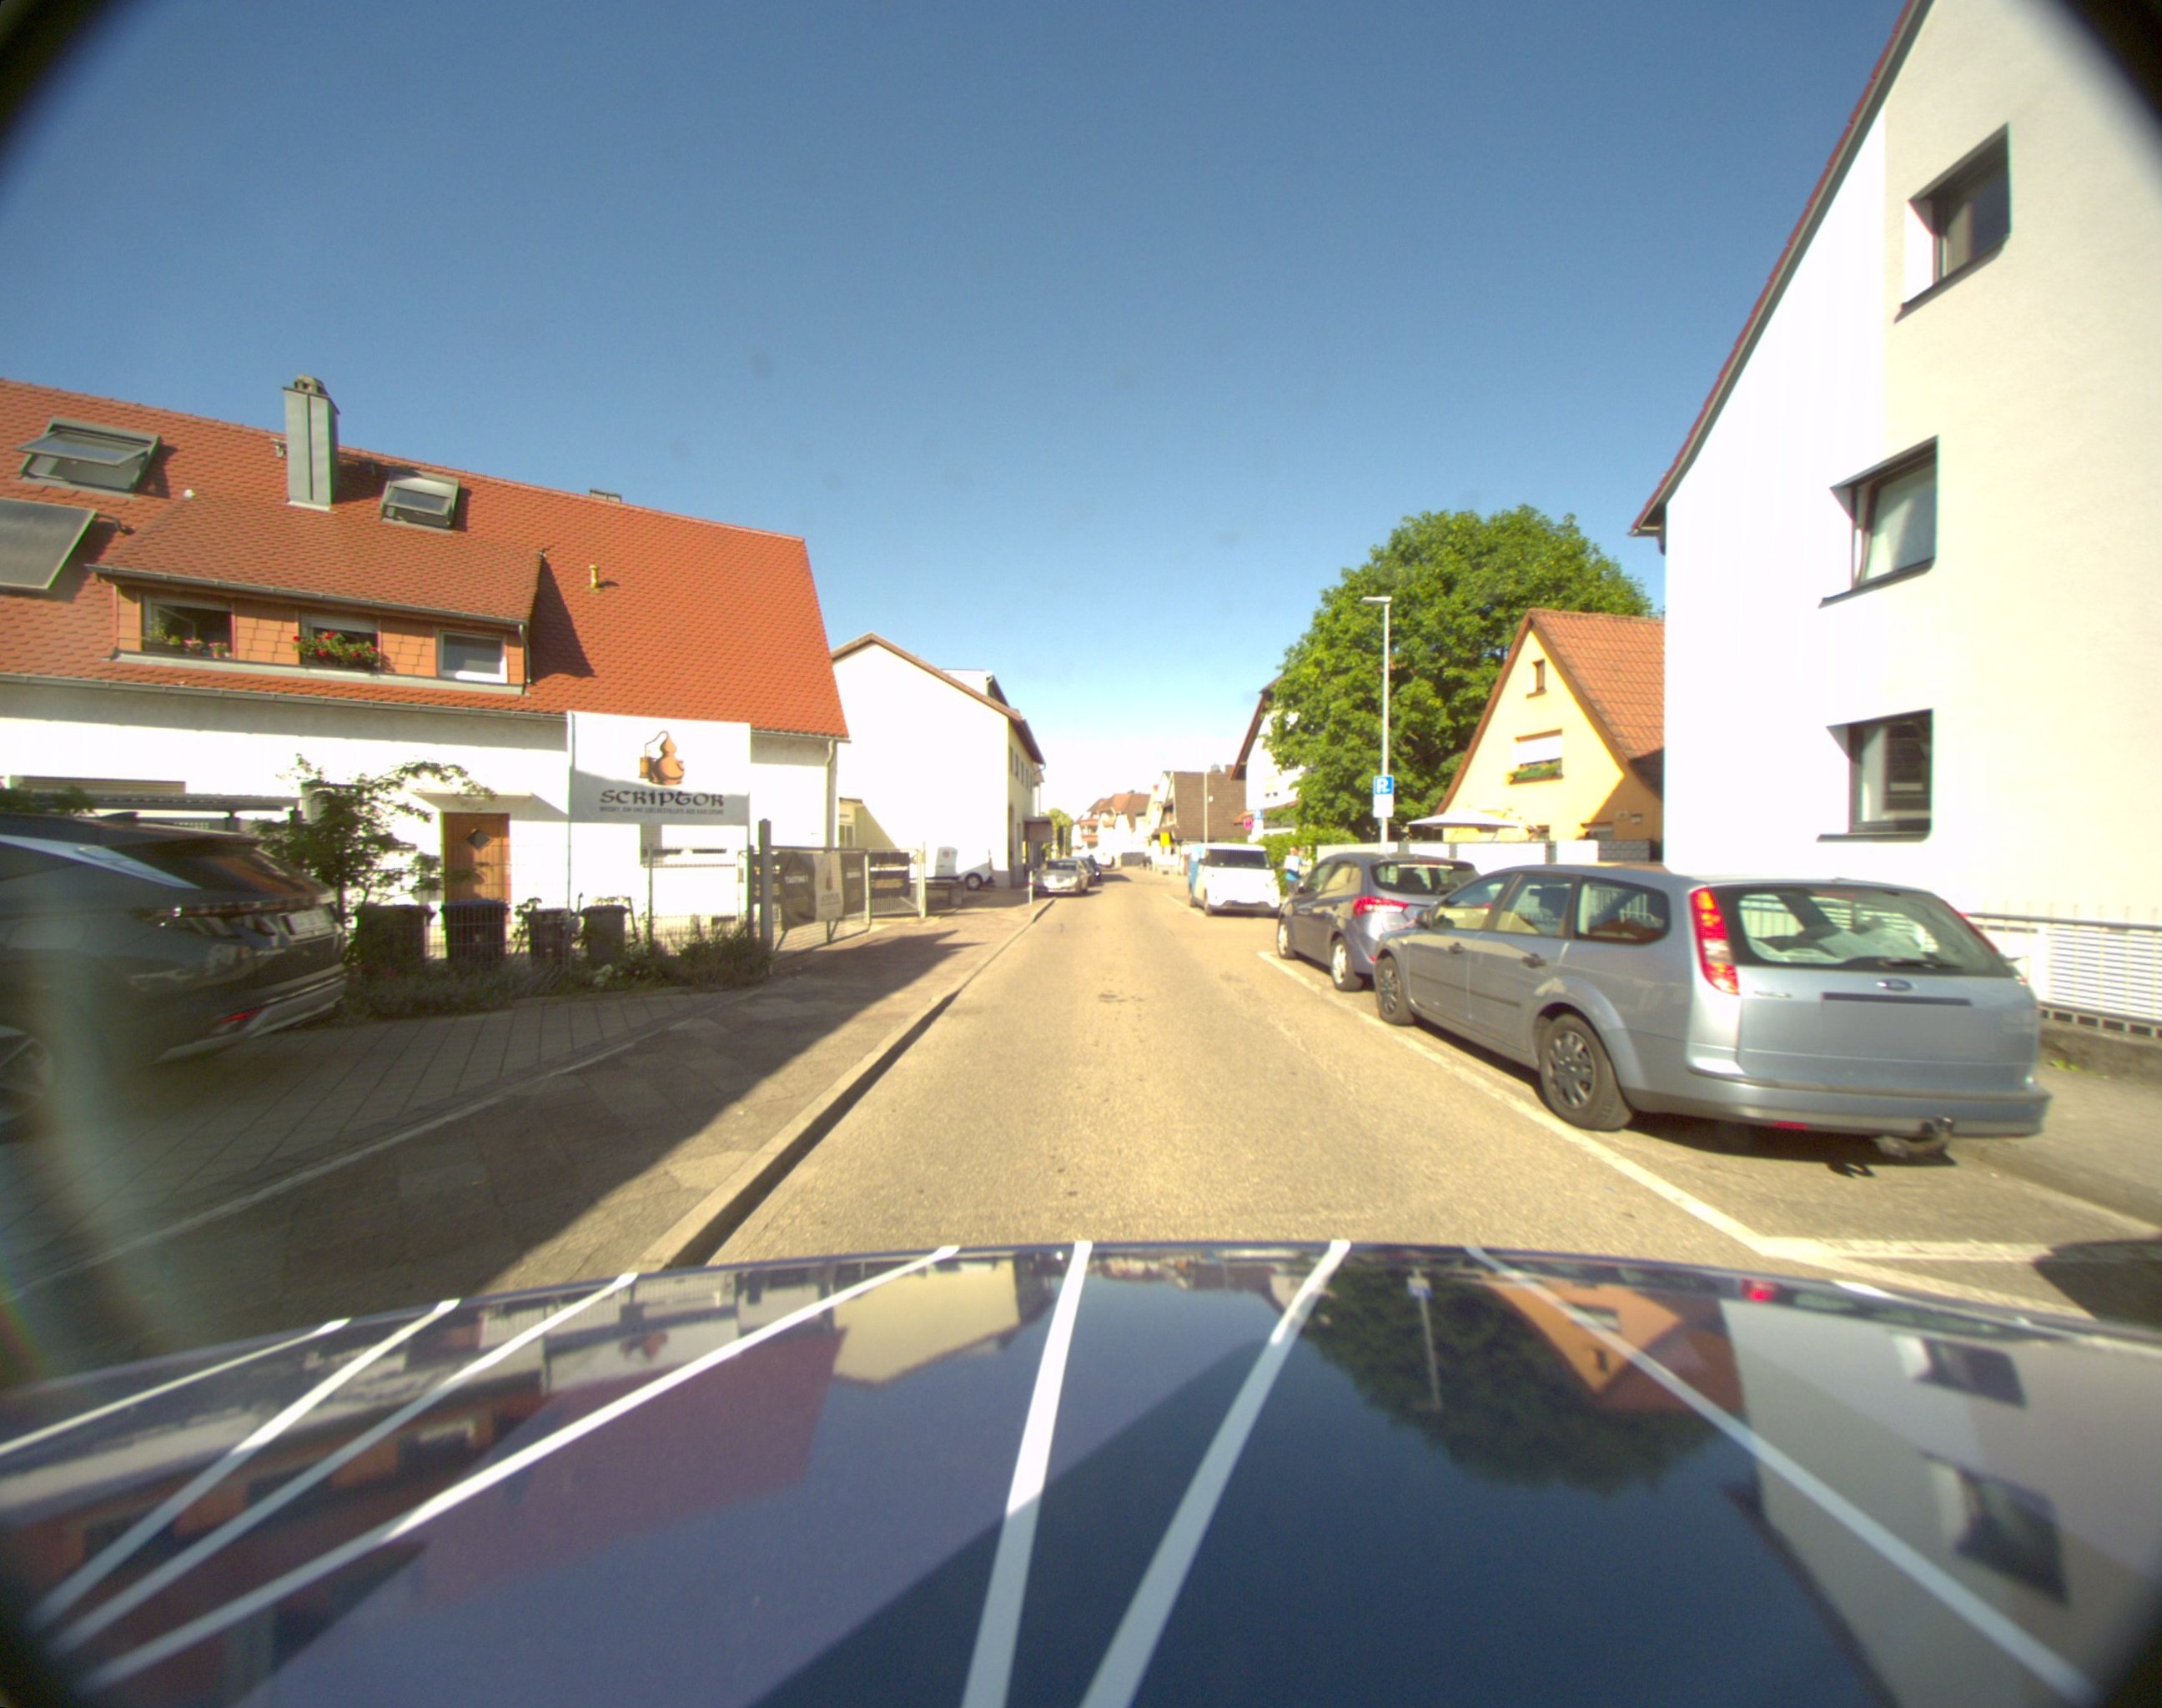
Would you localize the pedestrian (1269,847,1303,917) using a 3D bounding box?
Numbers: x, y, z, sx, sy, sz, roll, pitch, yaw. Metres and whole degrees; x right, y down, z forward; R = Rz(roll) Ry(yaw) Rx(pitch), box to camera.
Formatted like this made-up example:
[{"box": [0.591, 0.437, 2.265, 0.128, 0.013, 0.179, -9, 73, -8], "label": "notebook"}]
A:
[{"box": [5.219, 0.688, 19.404, 0.618, 1.739, 0.883, -2, 1, 1], "label": "pedestrian"}]

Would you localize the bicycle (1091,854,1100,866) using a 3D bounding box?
[{"box": [1.430, 0.586, 76.179, 0.640, 1.175, 2.021, -5, 1, -2], "label": "bicycle"}]

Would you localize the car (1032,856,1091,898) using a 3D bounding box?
[{"box": [-0.684, 0.835, 29.819, 1.815, 1.467, 4.661, 0, 1, 5], "label": "car"}]

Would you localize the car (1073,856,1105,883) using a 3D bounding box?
[{"box": [0.474, 0.886, 45.793, 1.813, 1.467, 4.843, -2, 1, 0], "label": "car"}]

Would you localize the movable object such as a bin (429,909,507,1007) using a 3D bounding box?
[{"box": [-6.415, 1.071, 7.970, 0.517, 0.918, 0.422, -4, 2, -28], "label": "movable object such as a bin"}]

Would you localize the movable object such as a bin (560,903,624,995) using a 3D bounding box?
[{"box": [-5.415, 1.039, 8.437, 0.517, 0.918, 0.422, -4, 2, -28], "label": "movable object such as a bin"}]

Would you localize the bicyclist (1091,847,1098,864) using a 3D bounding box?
[{"box": [1.328, 0.125, 76.327, 0.643, 1.655, 0.605, 0, 1, -2], "label": "bicyclist"}]

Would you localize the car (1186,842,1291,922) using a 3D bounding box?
[{"box": [4.091, 0.638, 20.615, 1.907, 1.906, 5.069, 0, 1, 1], "label": "car"}]

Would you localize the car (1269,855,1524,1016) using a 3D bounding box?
[{"box": [3.726, 0.844, 9.781, 1.719, 1.589, 3.925, 0, 1, 1], "label": "car"}]

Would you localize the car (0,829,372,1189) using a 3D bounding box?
[{"box": [-6.615, 0.715, 3.826, 4.055, 1.678, 1.907, 0, 0, -26], "label": "car"}]

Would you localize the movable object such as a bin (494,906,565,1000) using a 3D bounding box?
[{"box": [-5.945, 1.054, 8.210, 0.517, 0.918, 0.422, -4, 2, -28], "label": "movable object such as a bin"}]

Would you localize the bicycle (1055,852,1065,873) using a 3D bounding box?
[{"box": [-1.227, 0.497, 44.473, 0.509, 1.151, 1.507, 1, 1, 2], "label": "bicycle"}]

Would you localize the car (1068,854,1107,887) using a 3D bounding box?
[{"box": [0.331, 0.794, 38.620, 1.813, 1.467, 4.843, -2, 1, 0], "label": "car"}]

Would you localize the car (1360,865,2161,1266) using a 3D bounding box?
[{"box": [3.514, 0.886, 5.175, 1.716, 1.496, 4.235, 1, 1, 1], "label": "car"}]

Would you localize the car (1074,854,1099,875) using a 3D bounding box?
[{"box": [0.401, 0.751, 57.272, 1.730, 1.467, 3.874, -2, 1, 0], "label": "car"}]

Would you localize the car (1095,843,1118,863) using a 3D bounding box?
[{"box": [3.115, -0.141, 93.797, 2.259, 2.456, 5.513, 0, 1, -3], "label": "car"}]

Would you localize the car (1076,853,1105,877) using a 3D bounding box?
[{"box": [0.636, 0.712, 51.786, 1.813, 1.467, 4.444, -2, 1, 0], "label": "car"}]

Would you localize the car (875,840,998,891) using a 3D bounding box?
[{"box": [-5.843, 0.462, 31.175, 4.778, 1.875, 1.907, 2, 1, -8], "label": "car"}]
